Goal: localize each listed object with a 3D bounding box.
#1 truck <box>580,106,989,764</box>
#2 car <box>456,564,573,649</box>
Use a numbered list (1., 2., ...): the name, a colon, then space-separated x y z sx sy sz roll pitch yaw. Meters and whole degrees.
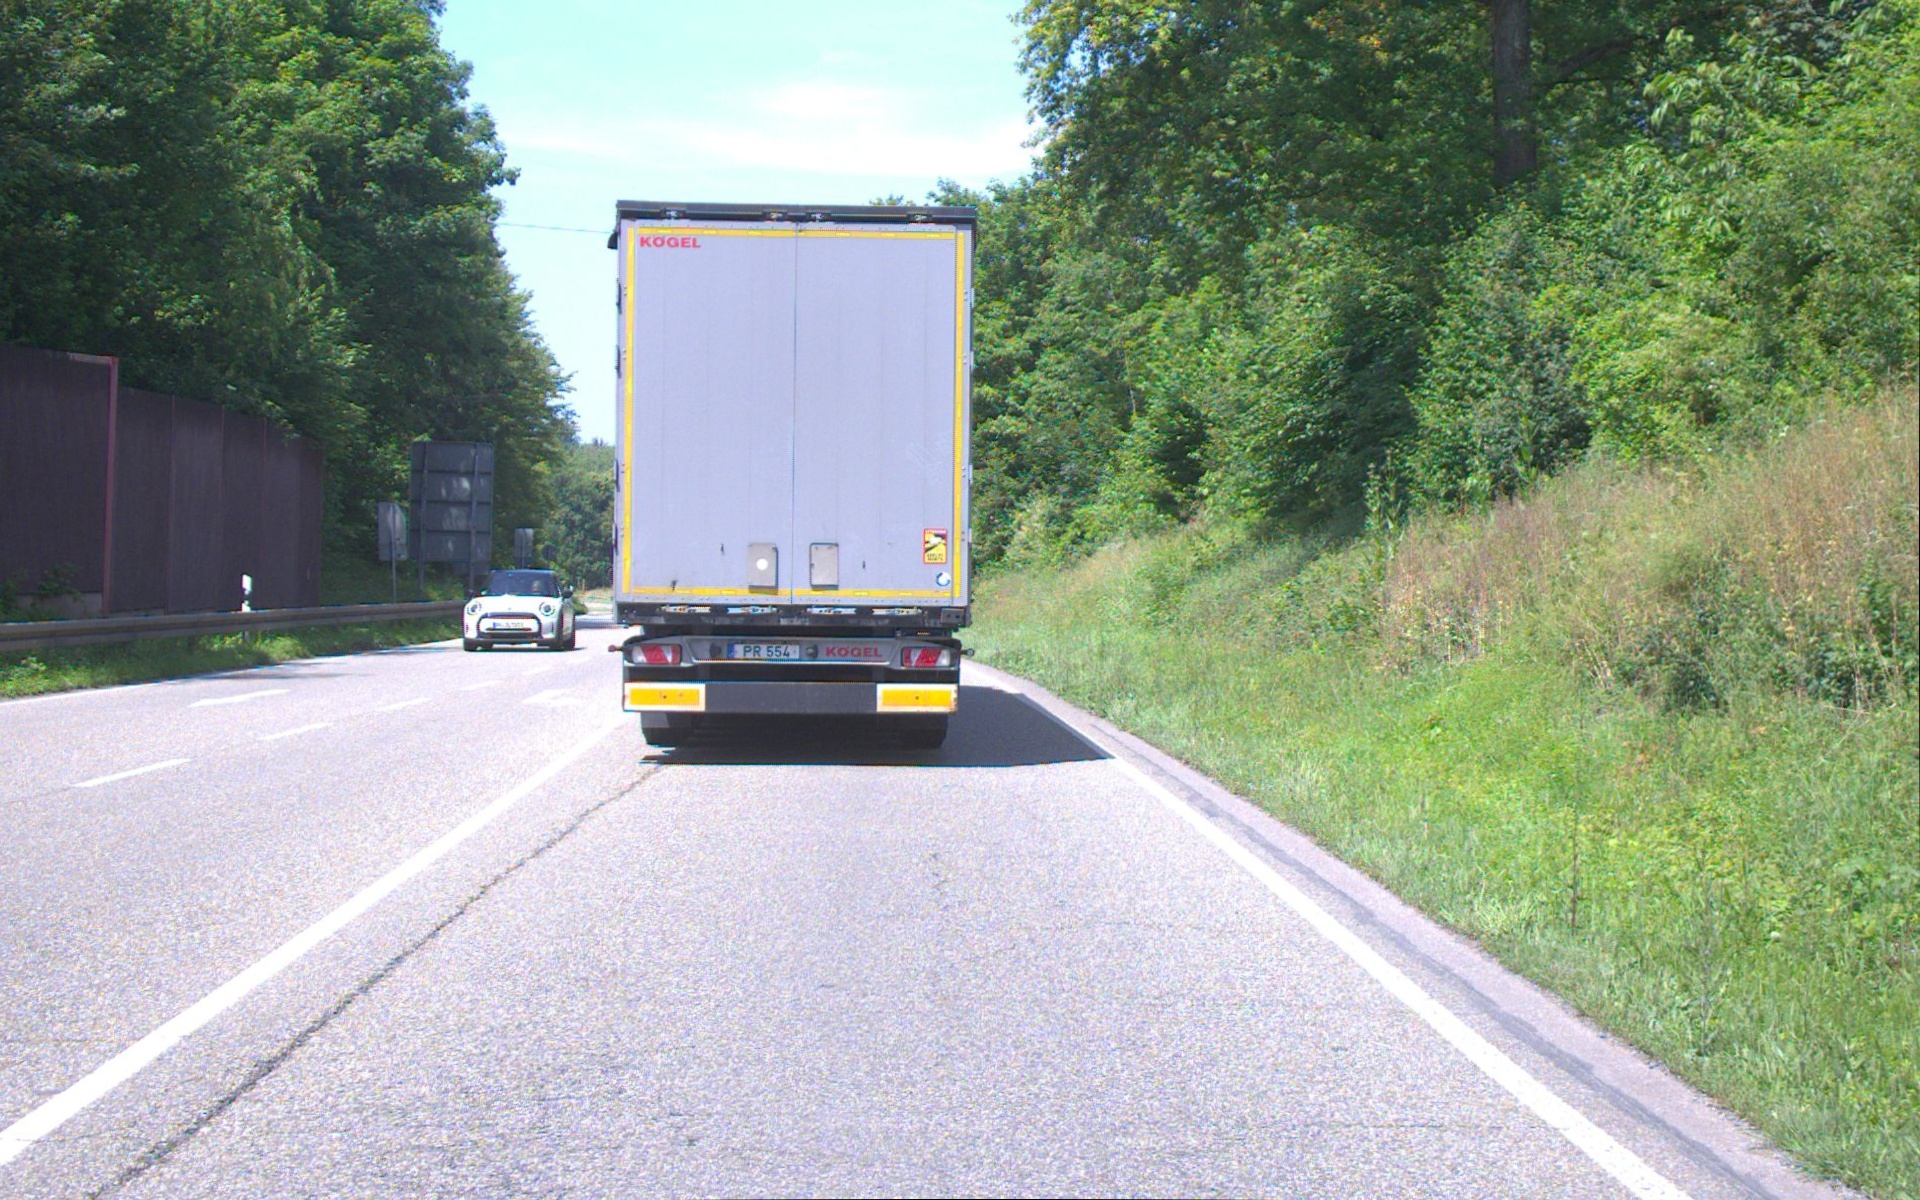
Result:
1. truck: -1.358 -1.245 27.553 2.822 4.588 6.666 1 1 -2
2. car: -7.855 0.090 60.908 1.806 1.430 3.872 0 1 -4
